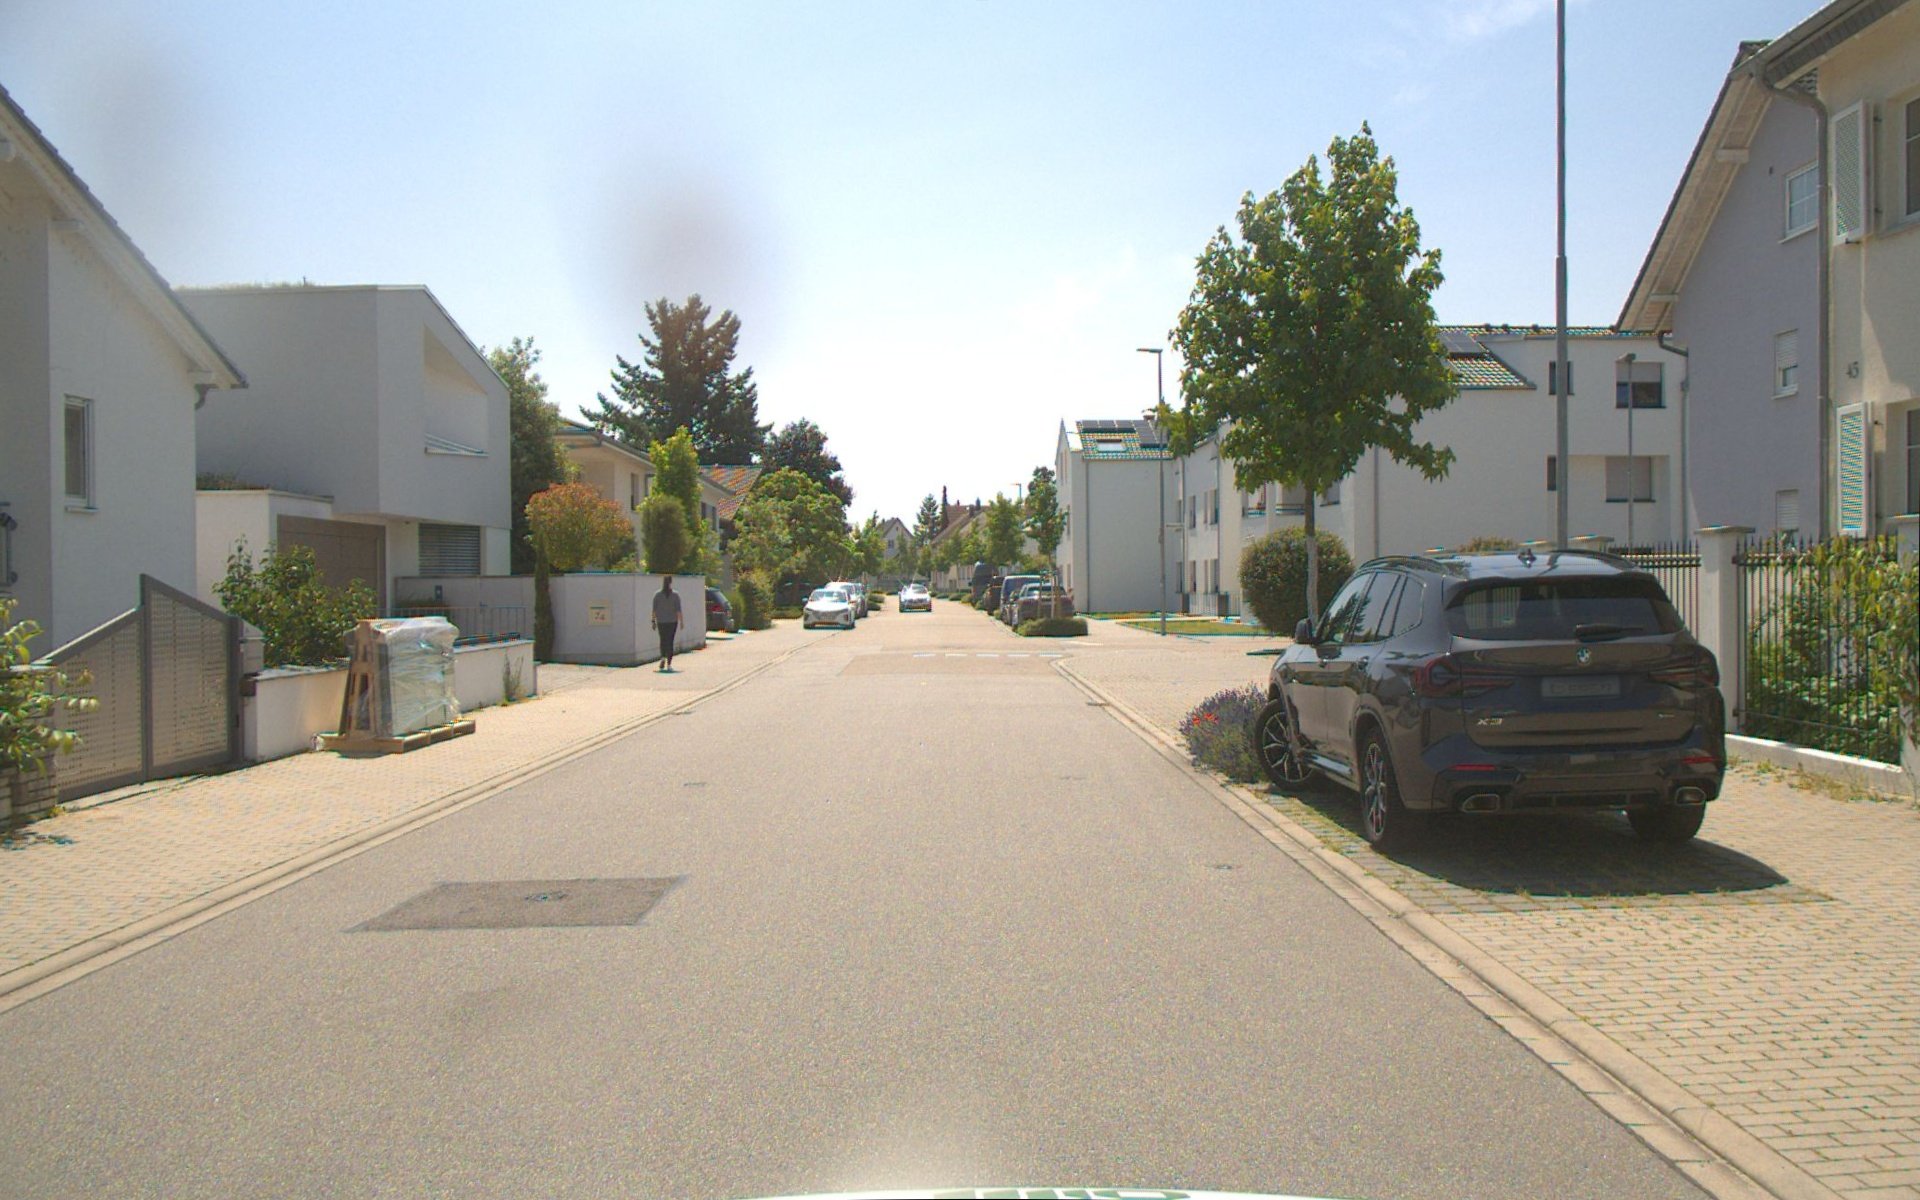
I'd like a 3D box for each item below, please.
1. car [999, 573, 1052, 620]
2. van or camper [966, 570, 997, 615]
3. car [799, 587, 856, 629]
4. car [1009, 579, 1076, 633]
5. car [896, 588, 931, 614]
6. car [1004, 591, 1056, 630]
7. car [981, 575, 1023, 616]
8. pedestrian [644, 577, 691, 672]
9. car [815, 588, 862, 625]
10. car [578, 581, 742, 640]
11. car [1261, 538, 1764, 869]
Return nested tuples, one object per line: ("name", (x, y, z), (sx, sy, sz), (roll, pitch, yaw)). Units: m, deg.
("car", (2.781, -0.149, 71.117), (2.056, 1.915, 4.843), (-1, 0, 0))
("van or camper", (1.404, -0.497, 110.244), (1.953, 2.993, 3.999), (0, 0, -1))
("car", (-5.010, 0.275, 62.910), (1.814, 1.514, 4.385), (-1, 0, 0))
("car", (2.655, 0.163, 54.250), (1.738, 1.623, 4.277), (-2, 0, -3))
("car", (-2.690, 0.048, 97.378), (1.814, 1.504, 4.701), (-1, 0, 1))
("car", (2.690, 0.378, 64.402), (1.646, 1.467, 4.024), (-1, 0, -3))
("car", (2.148, -0.236, 85.302), (1.953, 1.981, 5.214), (-2, 0, 0))
("pedestrian", (-5.543, 0.451, 31.378), (0.700, 1.777, 0.961), (-1, 0, 0))
("car", (-5.703, 0.280, 78.059), (1.888, 1.716, 4.498), (-1, 0, 0))
("car", (-8.727, 0.291, 48.328), (4.336, 1.499, 1.851), (3, 0, 3))
("car", (3.272, 0.493, 10.829), (1.777, 1.685, 4.564), (-1, 1, 0))
